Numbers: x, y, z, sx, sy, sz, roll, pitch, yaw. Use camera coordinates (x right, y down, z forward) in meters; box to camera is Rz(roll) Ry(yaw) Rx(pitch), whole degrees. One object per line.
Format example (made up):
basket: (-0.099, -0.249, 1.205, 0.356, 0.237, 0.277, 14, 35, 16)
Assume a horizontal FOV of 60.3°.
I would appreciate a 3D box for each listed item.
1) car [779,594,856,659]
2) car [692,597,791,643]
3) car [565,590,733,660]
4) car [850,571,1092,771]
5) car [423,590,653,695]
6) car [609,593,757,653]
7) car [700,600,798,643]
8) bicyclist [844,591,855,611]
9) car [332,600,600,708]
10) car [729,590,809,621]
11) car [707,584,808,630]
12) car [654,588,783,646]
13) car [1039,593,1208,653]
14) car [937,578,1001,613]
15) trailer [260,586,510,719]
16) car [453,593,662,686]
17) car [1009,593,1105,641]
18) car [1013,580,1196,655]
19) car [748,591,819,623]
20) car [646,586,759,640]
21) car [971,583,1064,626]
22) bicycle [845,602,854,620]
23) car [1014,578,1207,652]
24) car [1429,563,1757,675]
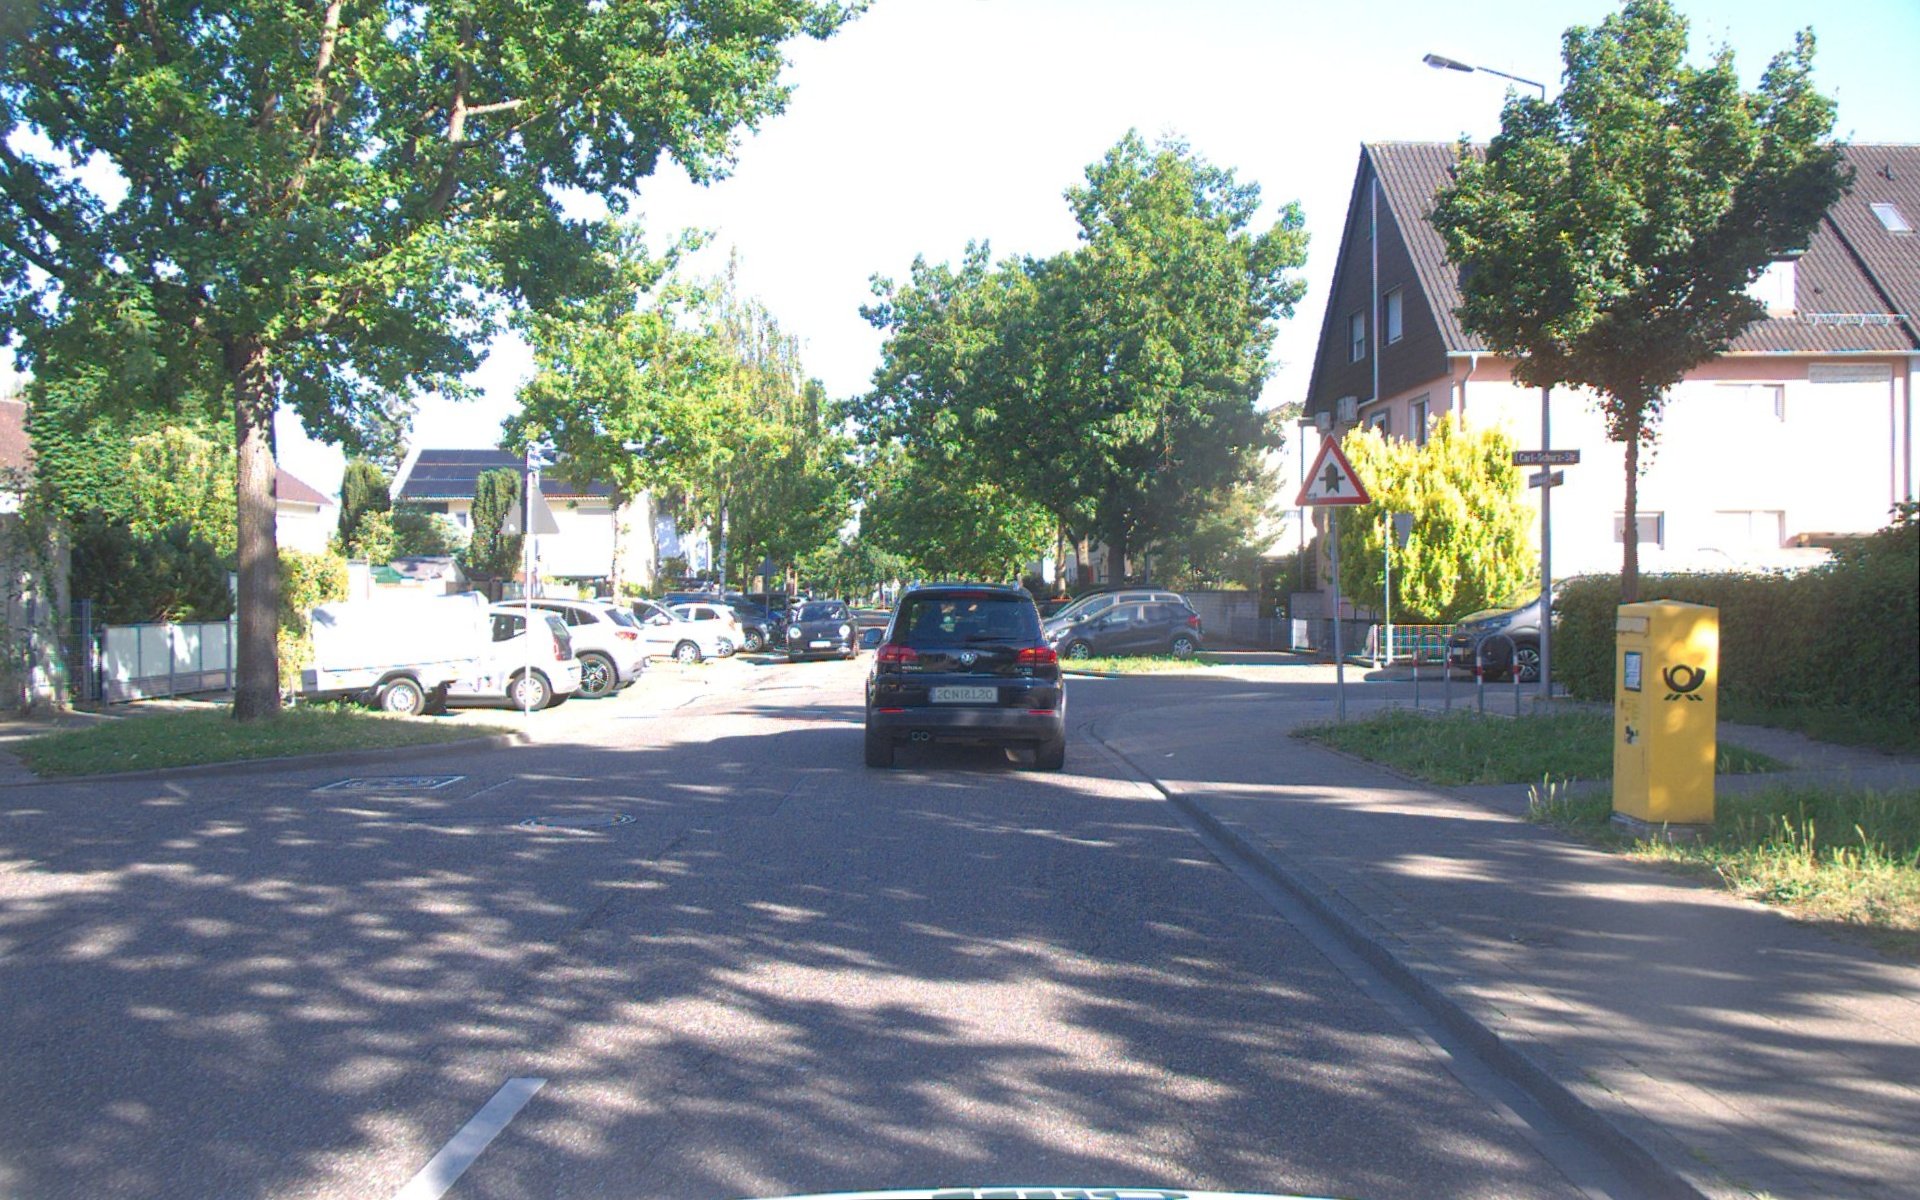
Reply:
car: (-3.765, 0.661, 44.278, 1.871, 1.582, 3.998, -2, 0, -3)
car: (-7.505, 0.678, 56.932, 3.306, 1.516, 1.642, -1, 0, -6)
car: (-7.883, 0.608, 42.220, 3.906, 1.699, 2.000, -1, 0, -1)
car: (-0.046, 0.596, 16.336, 1.892, 1.683, 4.508, 1, 0, -6)
car: (-6.919, 0.675, 27.448, 3.482, 1.641, 1.849, -1, 0, -8)
car: (-7.917, 0.647, 47.561, 3.906, 1.668, 2.000, 0, 0, -1)
car: (-8.813, 0.917, 69.375, 3.907, 1.750, 1.819, 0, -1, -3)
bicyclist: (-7.832, 0.096, 117.117, 0.687, 1.370, 0.506, -1, -2, -6)
car: (-7.315, 0.773, 24.753, 3.478, 1.503, 1.807, -1, 0, -2)
car: (-9.781, 0.291, 84.821, 3.906, 1.525, 1.999, -1, -2, -2)
car: (-8.762, 0.311, 71.864, 4.306, 1.973, 1.576, 0, -1, -7)
car: (-7.597, 0.521, 52.335, 3.910, 1.762, 1.998, -1, 0, -6)
car: (3.978, 0.545, 40.712, 3.907, 1.392, 1.846, -1, 0, -2)
car: (0.562, -0.292, 102.903, 3.906, 2.049, 1.999, -1, -2, -2)
trailer: (-7.713, 0.679, 22.376, 2.910, 1.685, 1.395, -1, 0, -6)
car: (-7.265, 0.702, 30.140, 3.481, 1.585, 1.850, -1, 0, -7)
car: (3.216, 0.550, 54.984, 2.987, 1.534, 1.244, -1, 0, -8)
car: (3.725, 0.432, 43.202, 4.540, 1.841, 1.823, -1, 0, -2)
car: (-10.152, 0.399, 94.803, 3.914, 1.713, 1.919, -1, 0, -10)
car: (-9.272, 0.467, 59.730, 3.910, 1.868, 1.635, -1, 0, -6)
car: (2.451, 0.174, 71.621, 3.906, 1.806, 1.789, -1, 0, -2)
bicycle: (-7.818, 0.798, 117.046, 0.625, 1.183, 1.739, -1, -2, -6)
car: (4.152, 0.399, 46.259, 5.154, 1.979, 1.999, 0, 0, -2)
car: (11.369, 0.349, 29.929, 5.138, 1.880, 2.069, -1, -1, -5)
